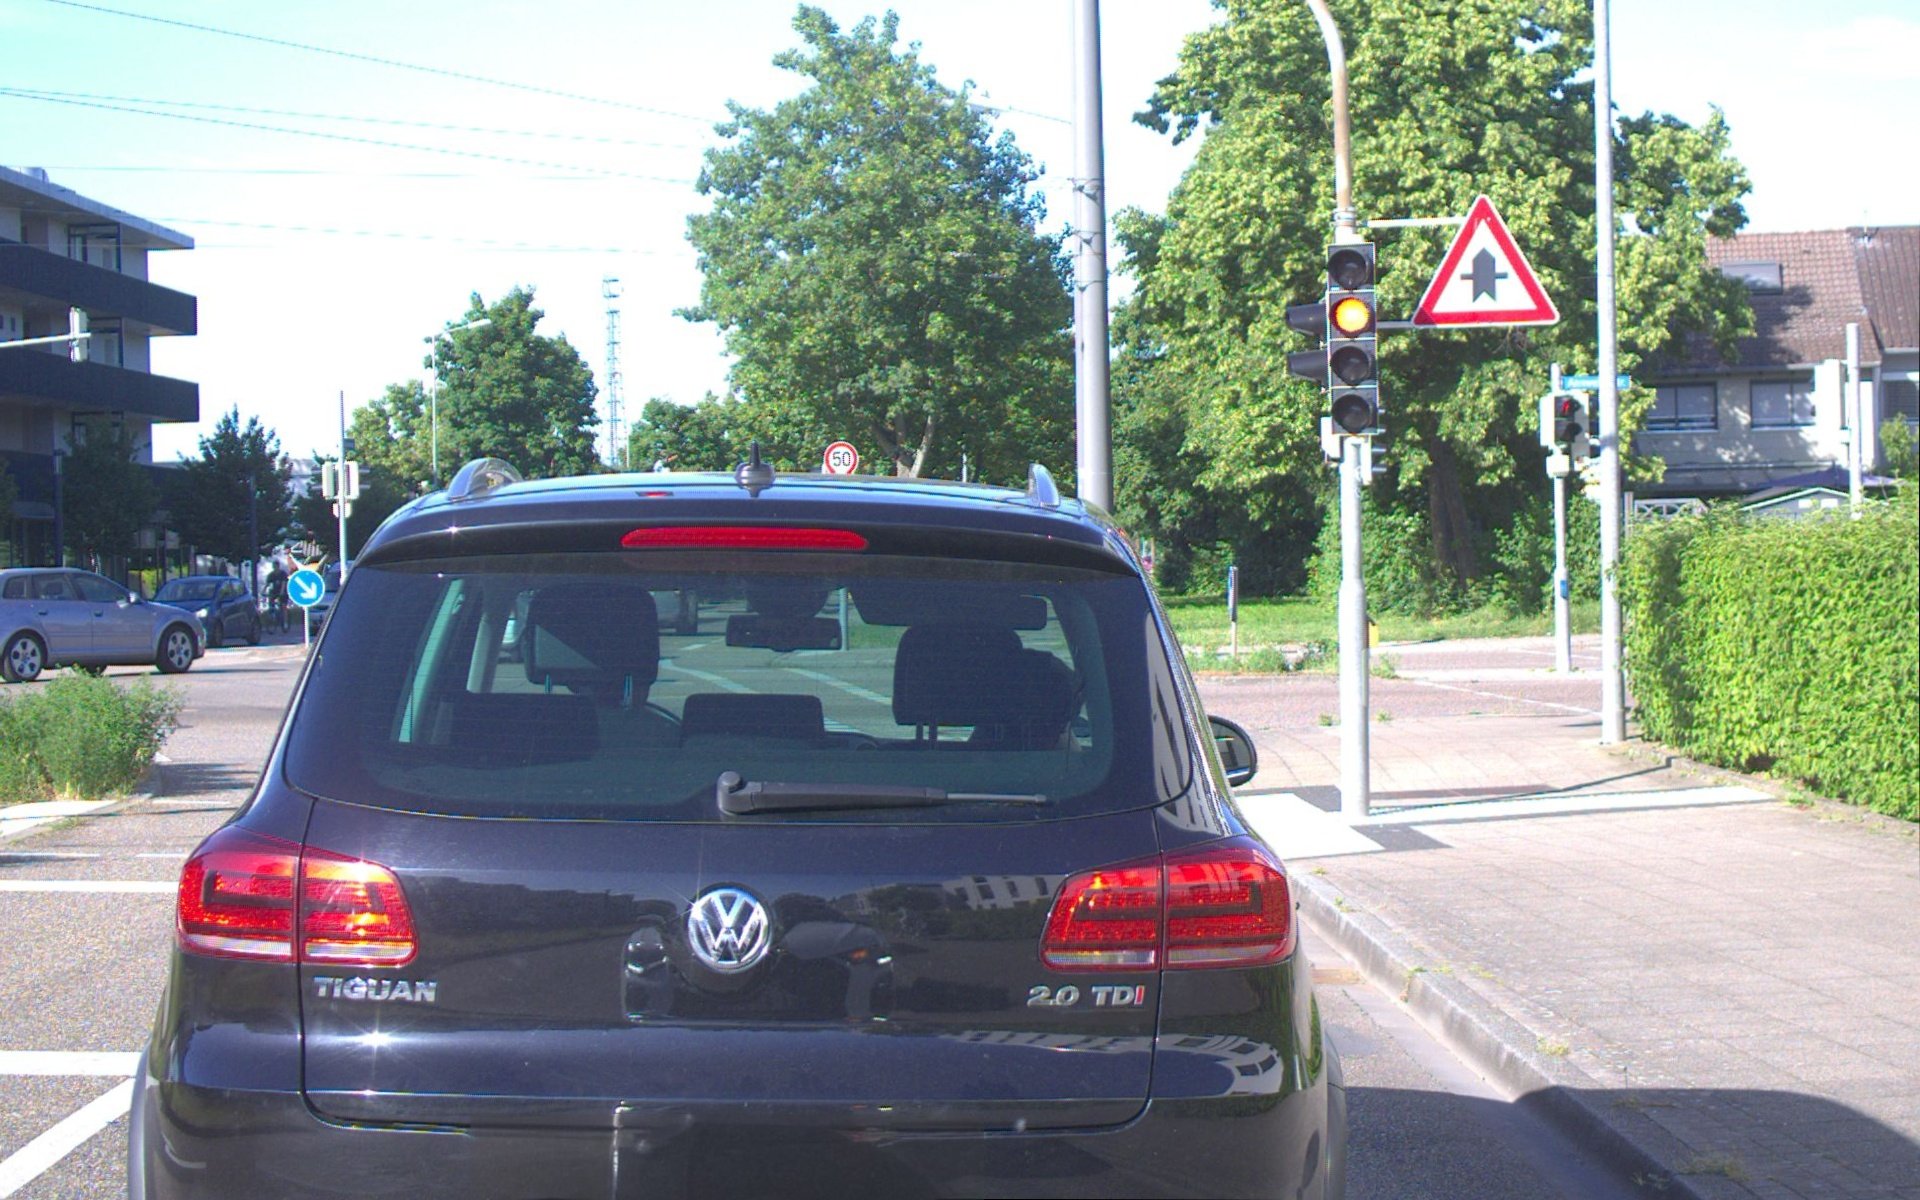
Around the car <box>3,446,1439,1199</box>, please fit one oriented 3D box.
[{"bbox_3d":[-0.340,0.606,6.509,1.869,1.632,4.000,1,1,-1],"label":"car"}]

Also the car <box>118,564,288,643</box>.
[{"bbox_3d":[-15.753,0.045,71.752,1.994,1.569,4.337,1,1,9],"label":"car"}]

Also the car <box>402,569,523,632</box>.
[{"bbox_3d":[-12.818,-0.002,88.843,1.994,1.569,4.338,1,1,7],"label":"car"}]

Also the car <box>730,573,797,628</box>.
[{"bbox_3d":[-6.184,0.001,108.733,1.993,1.678,4.000,1,1,-2],"label":"car"}]

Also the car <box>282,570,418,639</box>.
[{"bbox_3d":[-14.523,0.092,82.016,1.994,1.569,4.338,1,1,7],"label":"car"}]

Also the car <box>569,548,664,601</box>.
[{"bbox_3d":[-10.552,-0.780,105.967,1.994,1.569,4.338,1,1,7],"label":"car"}]

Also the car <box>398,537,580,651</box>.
[{"bbox_3d":[-7.404,-0.117,54.350,1.864,1.714,3.685,-1,1,9],"label":"car"}]

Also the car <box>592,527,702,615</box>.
[{"bbox_3d":[-6.792,-0.637,75.020,1.993,1.830,4.000,1,1,0],"label":"car"}]

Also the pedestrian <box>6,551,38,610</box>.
[{"bbox_3d":[-24.128,-0.515,88.449,0.642,1.504,0.596,1,0,1],"label":"pedestrian"}]

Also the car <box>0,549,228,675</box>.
[{"bbox_3d":[-11.473,0.144,43.475,1.867,1.480,4.102,-1,1,36],"label":"car"}]
